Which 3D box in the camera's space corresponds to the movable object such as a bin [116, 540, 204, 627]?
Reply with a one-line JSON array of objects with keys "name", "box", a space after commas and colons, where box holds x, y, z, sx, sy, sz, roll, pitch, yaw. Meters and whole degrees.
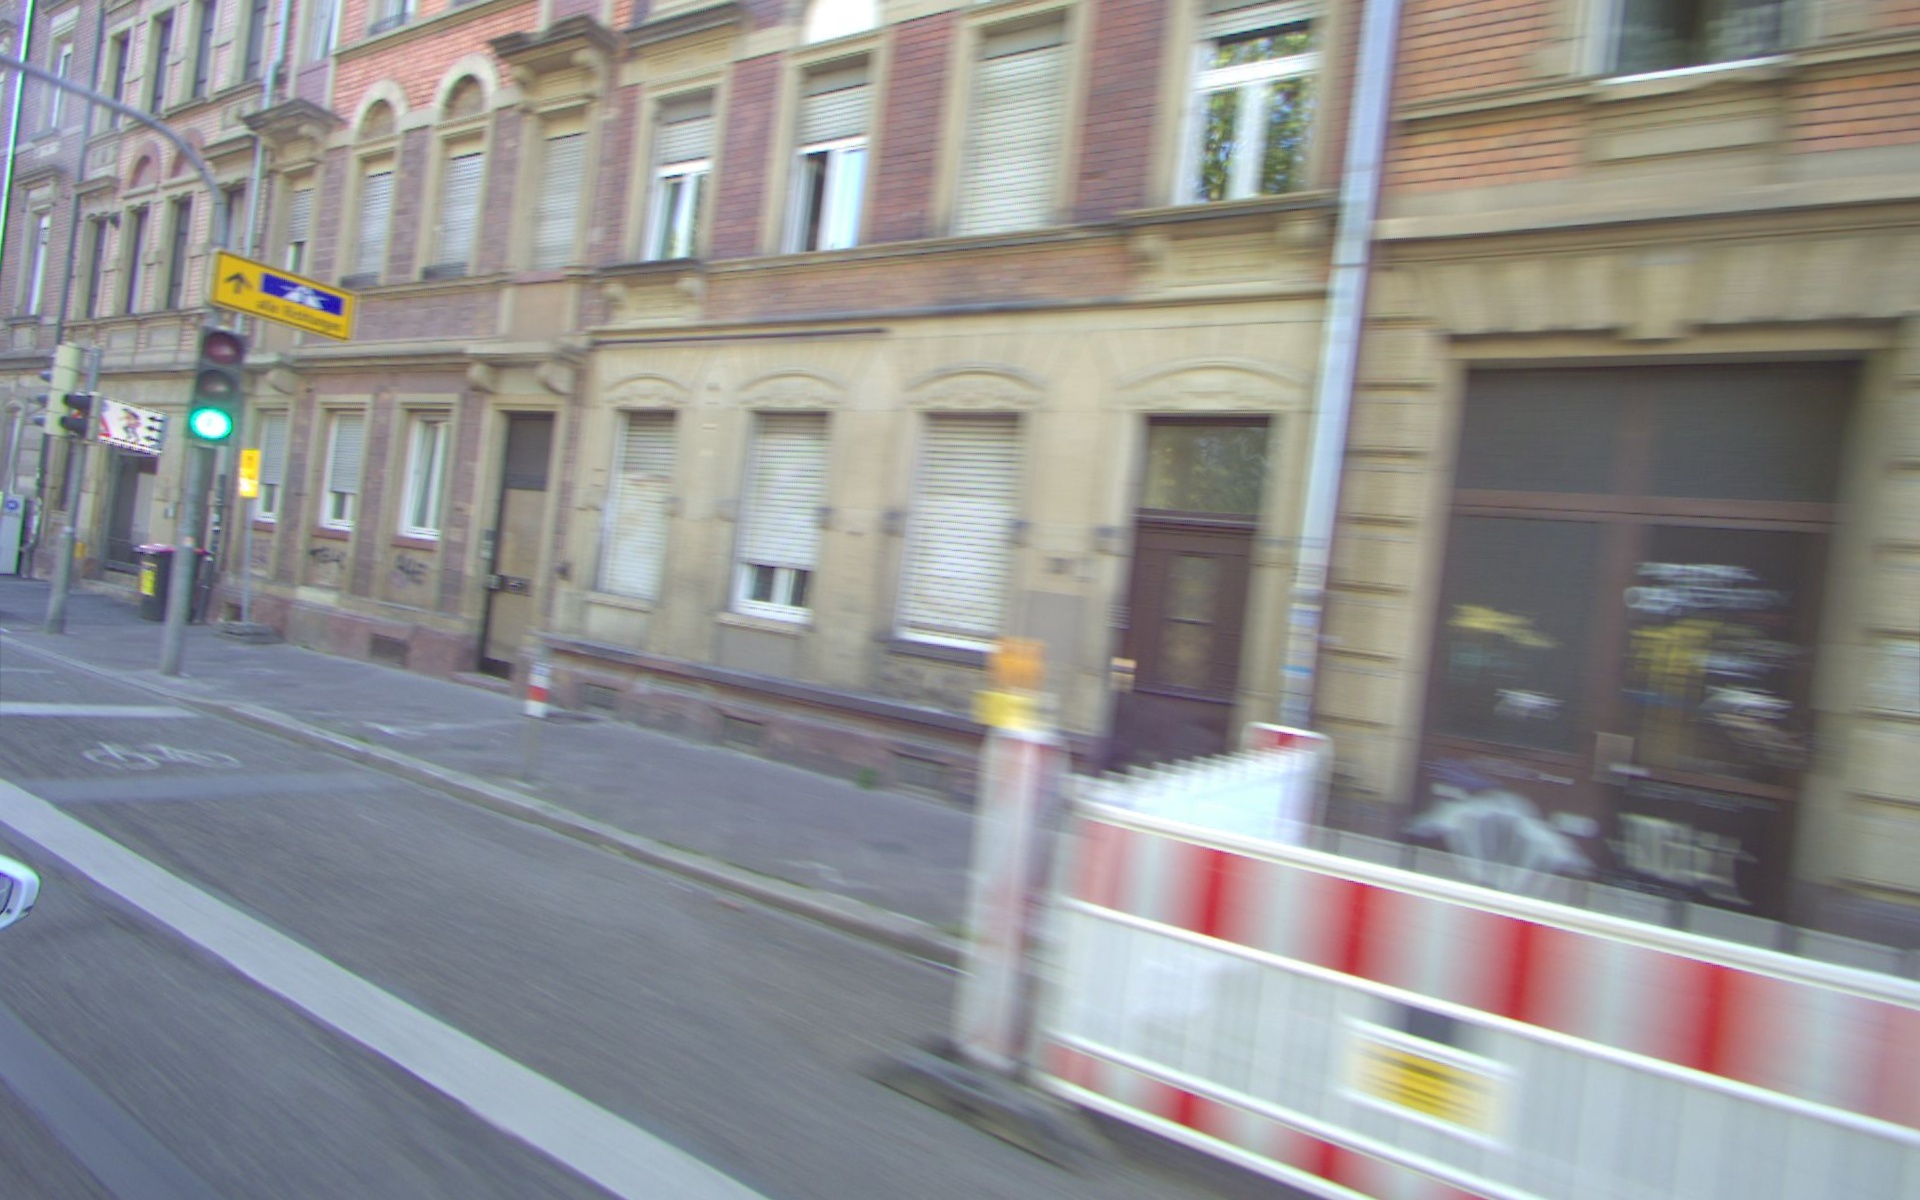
[{"name": "movable object such as a bin", "box": [-11.502, -0.232, 14.474, 0.767, 1.122, 0.622, 6, -2, 28]}]
